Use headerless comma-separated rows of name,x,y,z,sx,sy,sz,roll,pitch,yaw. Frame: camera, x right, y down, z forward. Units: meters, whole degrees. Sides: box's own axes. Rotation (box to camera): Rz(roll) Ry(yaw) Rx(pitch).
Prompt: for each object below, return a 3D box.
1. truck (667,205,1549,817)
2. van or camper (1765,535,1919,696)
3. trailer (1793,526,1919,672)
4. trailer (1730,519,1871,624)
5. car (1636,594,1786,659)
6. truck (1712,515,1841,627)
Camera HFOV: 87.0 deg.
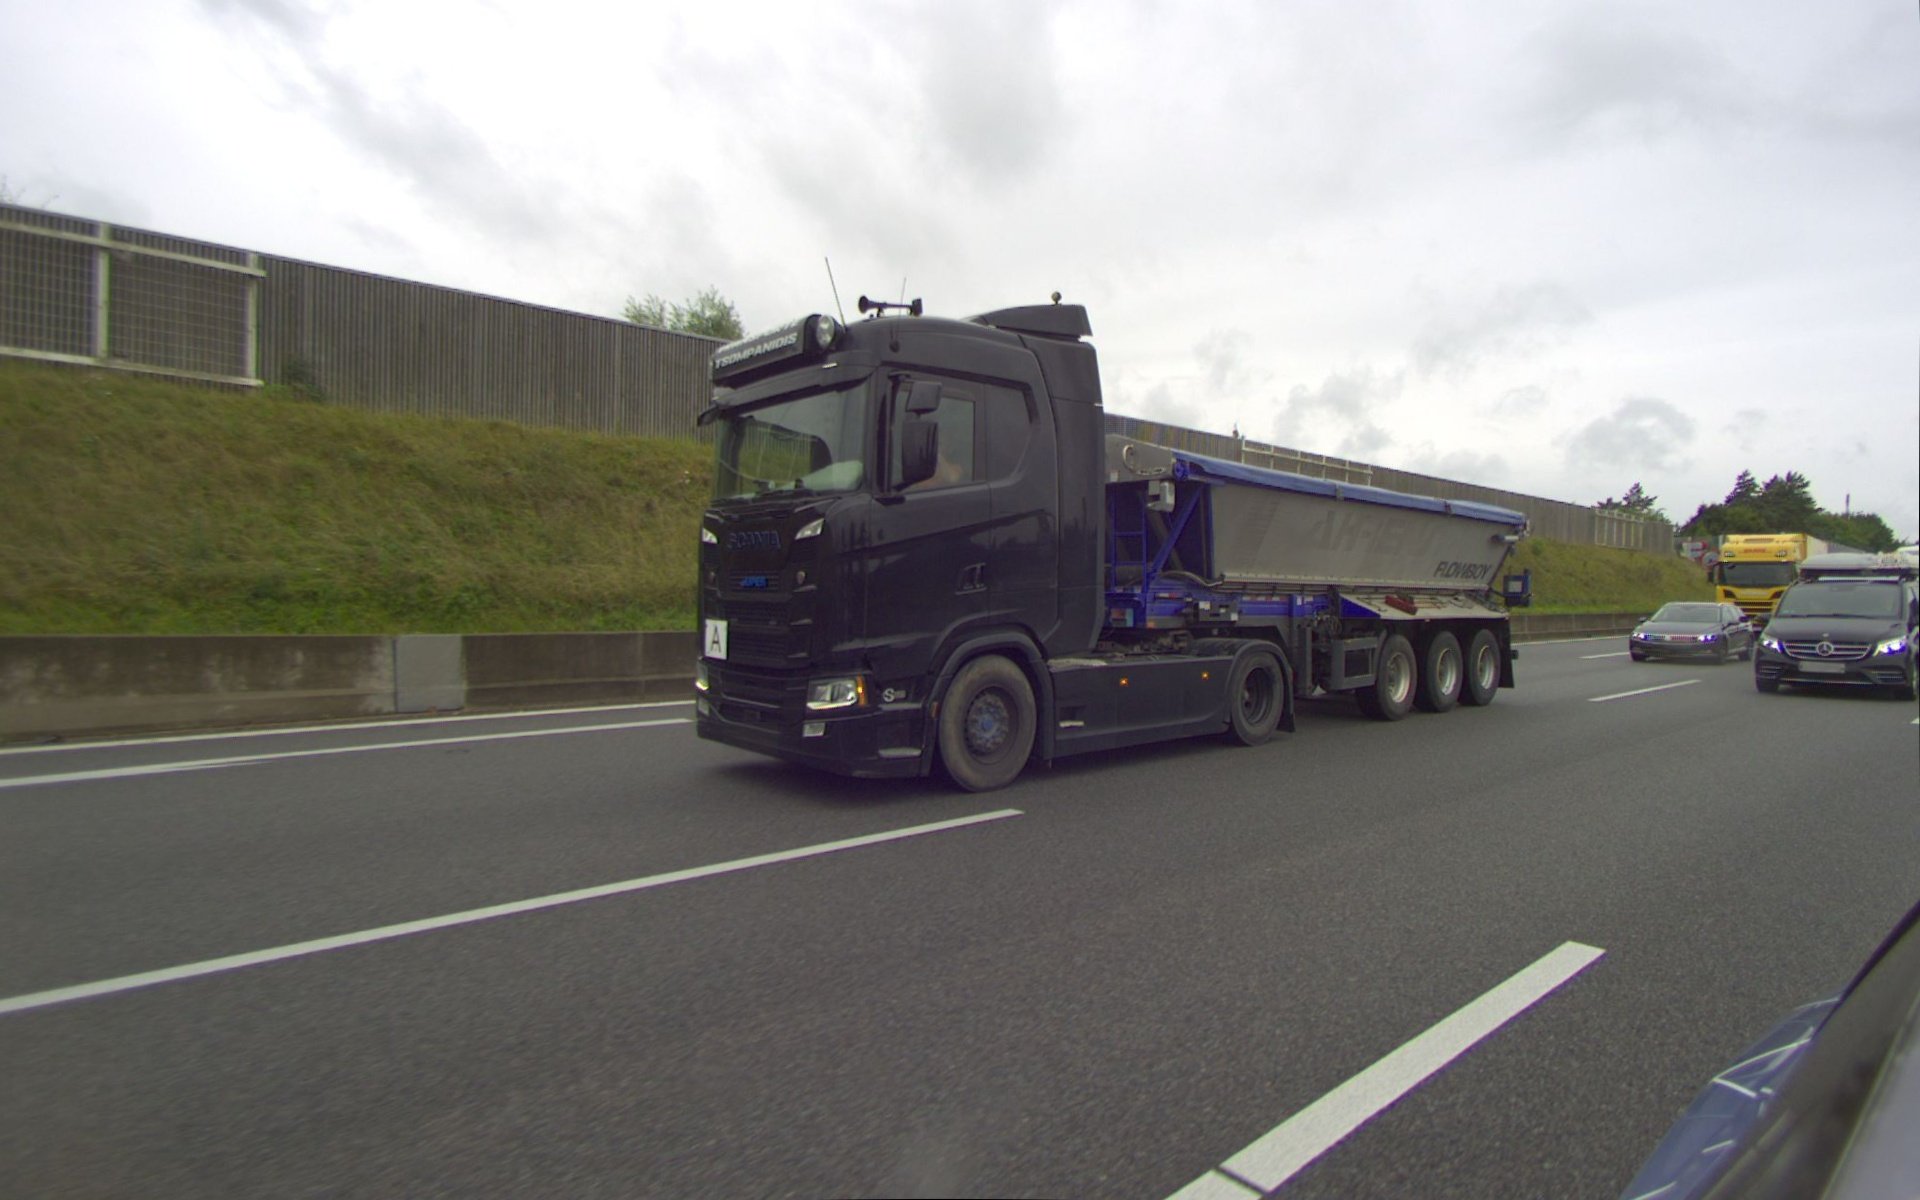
truck,3.062,-0.630,11.824,12.492,4.000,2.817,0,0,-41
van or camper,15.304,0.227,16.992,5.581,2.298,1.893,1,0,-42
trailer,20.116,-0.025,21.343,7.380,2.675,2.726,0,1,-41
trailer,37.607,-1.130,44.887,16.403,4.003,2.654,0,0,-43
car,18.572,0.591,24.926,5.197,1.445,1.942,0,-1,-42
truck,32.635,-1.065,40.275,9.169,4.008,2.688,0,0,-43
